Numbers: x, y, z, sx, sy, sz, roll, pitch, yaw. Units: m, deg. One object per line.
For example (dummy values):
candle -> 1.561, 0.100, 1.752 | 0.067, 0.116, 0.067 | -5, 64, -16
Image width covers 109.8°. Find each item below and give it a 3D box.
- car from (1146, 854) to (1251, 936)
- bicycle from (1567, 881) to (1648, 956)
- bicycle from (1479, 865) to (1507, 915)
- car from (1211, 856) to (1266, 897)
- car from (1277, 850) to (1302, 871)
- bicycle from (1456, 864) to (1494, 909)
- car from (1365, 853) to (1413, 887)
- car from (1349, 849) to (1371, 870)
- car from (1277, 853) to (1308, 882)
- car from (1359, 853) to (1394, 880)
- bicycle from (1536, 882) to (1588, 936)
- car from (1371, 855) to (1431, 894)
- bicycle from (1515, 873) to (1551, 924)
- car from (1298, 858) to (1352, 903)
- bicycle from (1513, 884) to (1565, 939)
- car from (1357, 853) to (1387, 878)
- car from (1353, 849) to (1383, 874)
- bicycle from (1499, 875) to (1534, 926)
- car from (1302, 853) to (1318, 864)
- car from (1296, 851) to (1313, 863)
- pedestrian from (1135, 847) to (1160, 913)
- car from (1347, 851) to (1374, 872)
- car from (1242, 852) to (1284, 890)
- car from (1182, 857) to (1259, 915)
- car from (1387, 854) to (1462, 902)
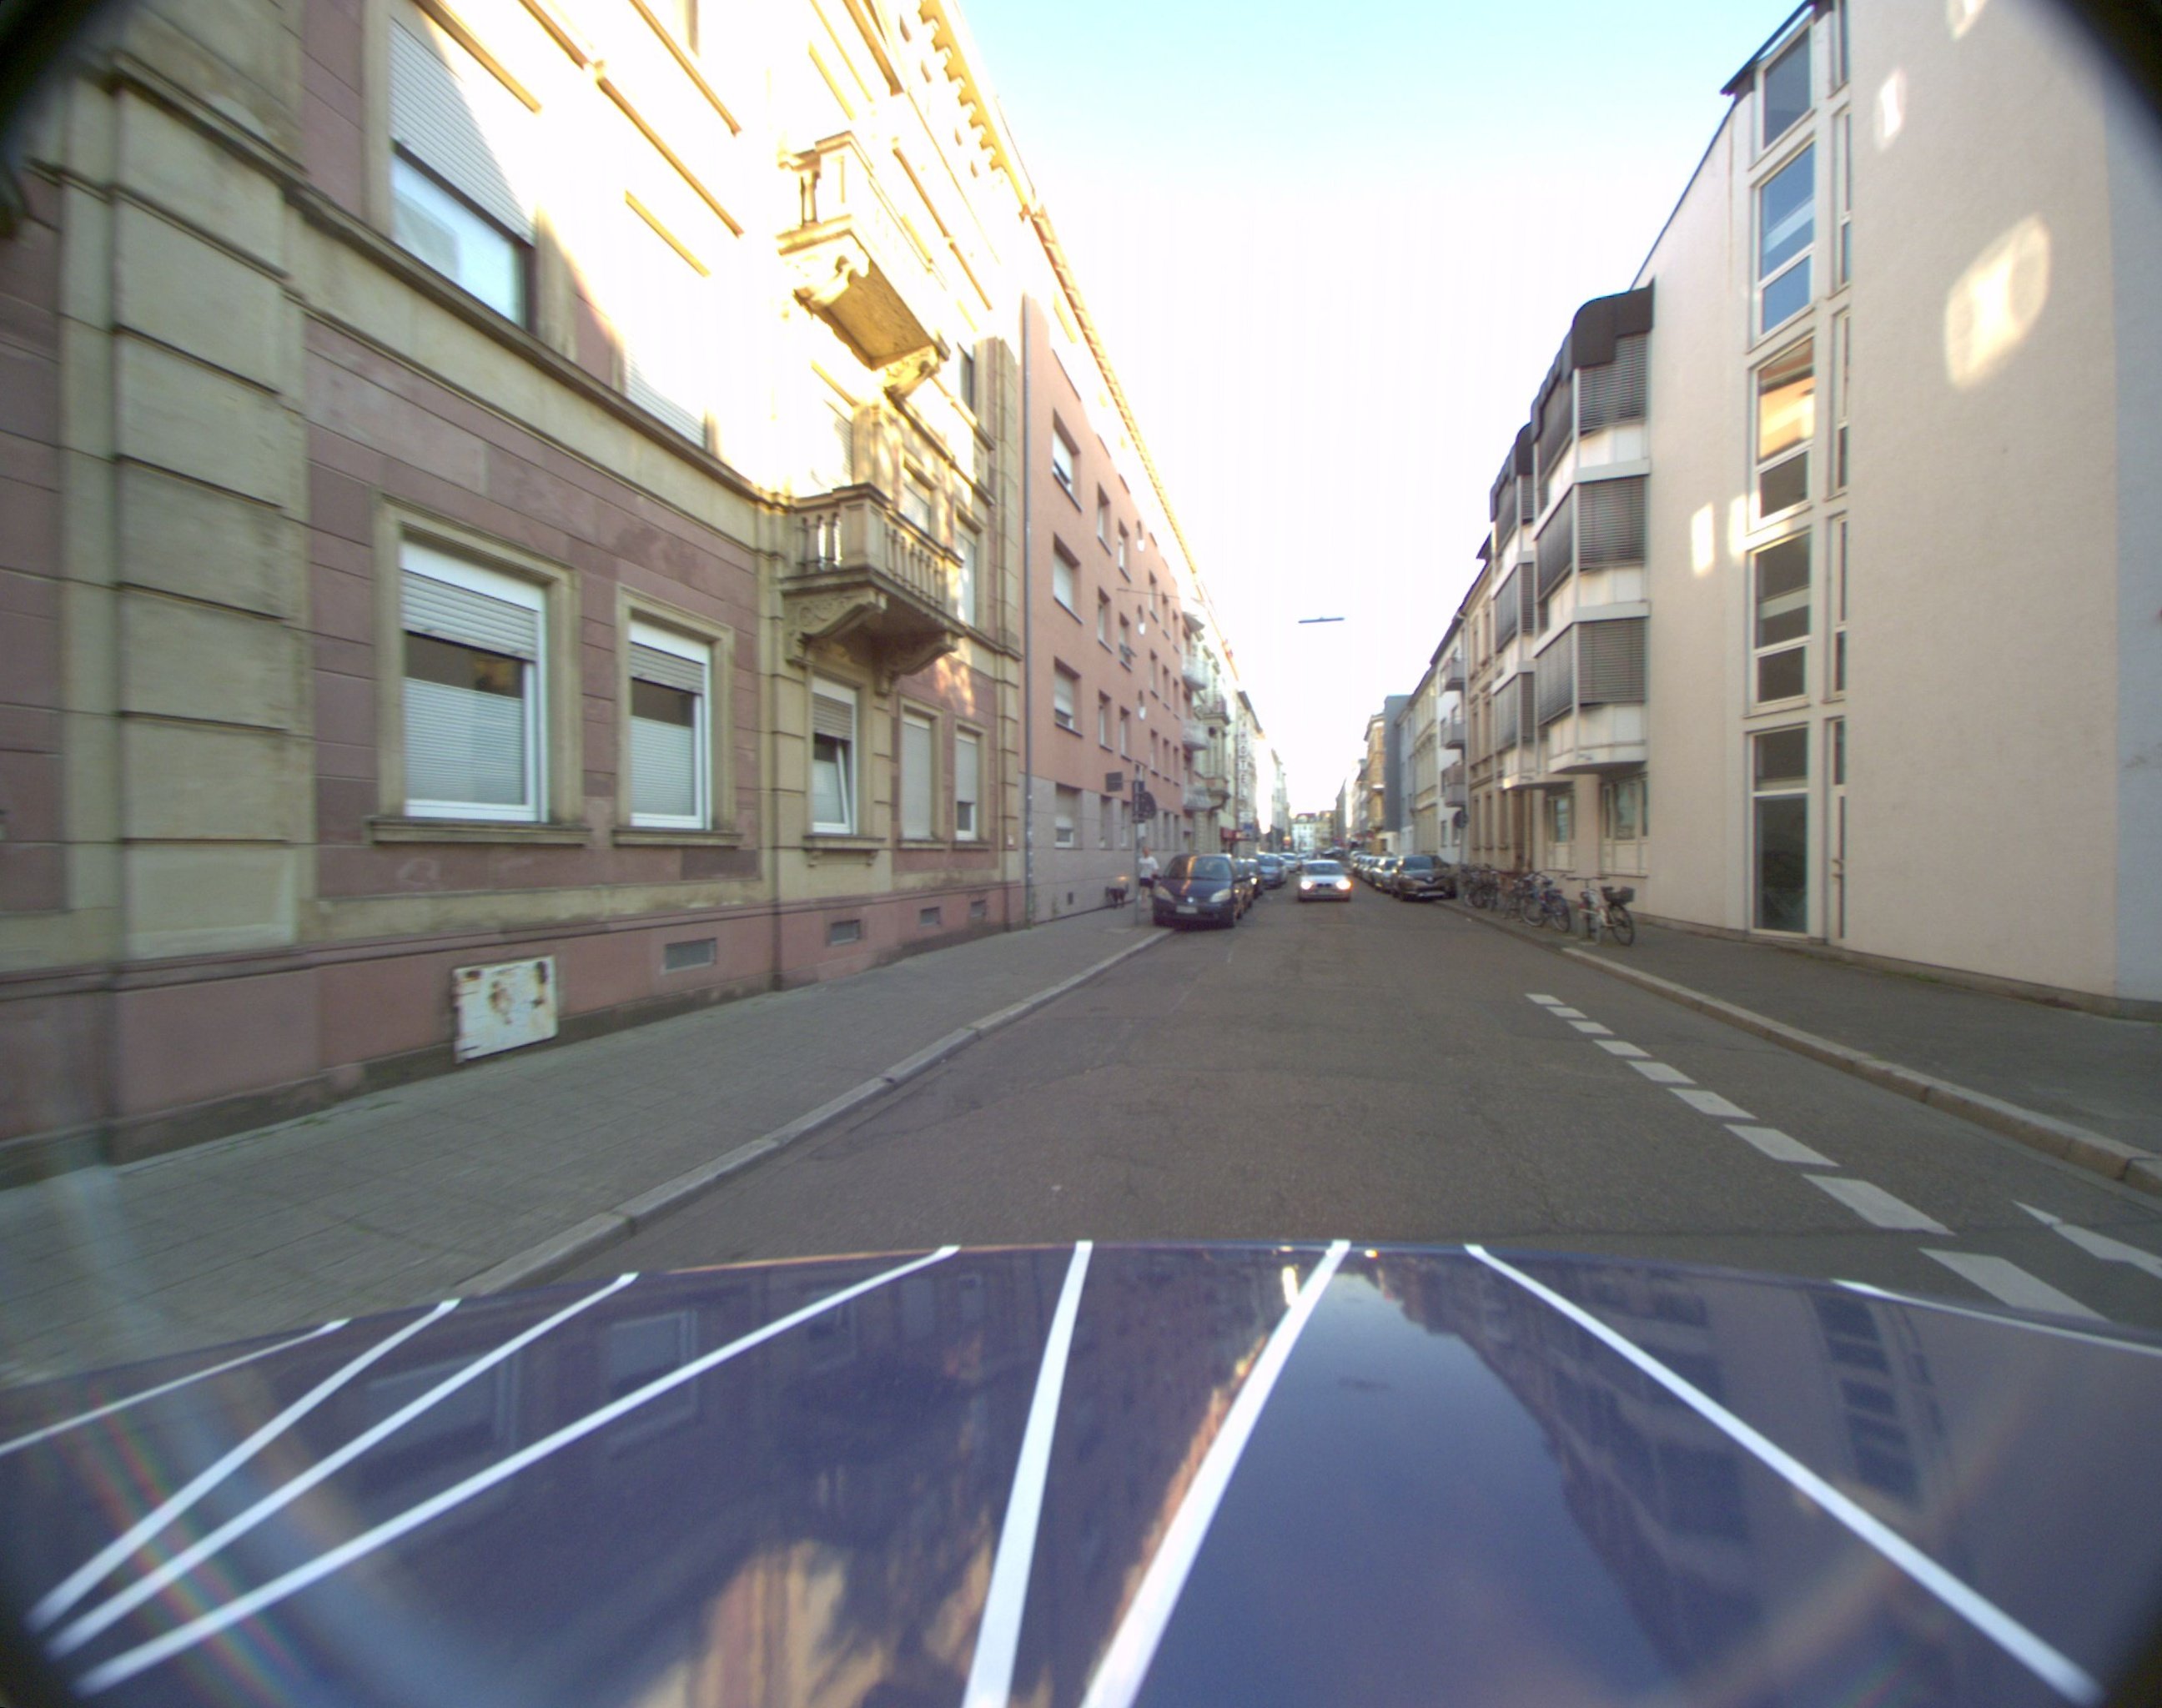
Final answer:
car -> 2.789, 0.838, 17.336 | 1.691, 1.615, 4.060 | -1, 0, 18
bicycle -> 8.712, 1.030, 12.637 | 0.401, 1.096, 1.815 | -1, 0, 11
bicycle -> 10.680, 0.912, 19.735 | 0.307, 1.215, 1.815 | -1, 0, 18
car -> 6.206, 0.822, 29.677 | 1.691, 1.449, 4.137 | -1, 0, 17
car -> 18.569, 0.546, 67.468 | 1.839, 1.685, 4.364 | 4, 2, 18
bicycle -> 11.278, 0.896, 21.819 | 0.596, 1.180, 2.268 | -1, 0, 18
car -> 15.166, 0.759, 37.628 | 1.793, 1.530, 4.500 | -1, 0, 17
car -> 24.445, 0.433, 66.620 | 1.640, 1.786, 3.788 | -1, 0, 17
car -> 12.114, 0.725, 43.456 | 1.572, 1.569, 3.594 | -1, 0, 17
car -> 17.159, 0.695, 44.268 | 1.640, 1.480, 3.793 | -1, 0, 17
bicycle -> 9.349, 1.049, 14.817 | 0.307, 0.926, 1.815 | -1, 0, 14
car -> 13.572, 0.829, 32.437 | 1.793, 1.530, 4.439 | -1, 0, 15
bicycle -> 10.135, 0.966, 17.069 | 0.307, 1.036, 1.815 | -1, 0, 18
car -> 8.735, 0.890, 27.282 | 1.679, 1.395, 4.477 | -2, 0, 17
bicycle -> 8.989, 1.104, 14.960 | 0.307, 0.926, 1.815 | -1, 0, 13
car -> 18.796, 0.727, 49.213 | 1.640, 1.480, 3.959 | -1, 0, 19
car -> 20.586, 0.521, 54.684 | 1.640, 1.701, 3.787 | -1, 0, 15
bicycle -> 9.826, 1.030, 17.183 | 0.307, 1.036, 1.815 | -1, 0, 18
car -> 29.103, 0.540, 96.521 | 1.727, 1.390, 3.897 | -1, 0, 18
car -> 26.088, 0.308, 88.506 | 1.727, 1.390, 3.897 | -1, 0, 18
pedestrian -> 1.768, 0.674, 20.223 | 0.550, 1.733, 0.569 | 0, 0, 16
car -> 22.194, 0.600, 60.486 | 1.640, 1.571, 3.787 | -1, 0, 15
car -> 8.848, 0.764, 36.770 | 1.691, 1.731, 4.114 | -1, 0, 17
car -> 4.195, 0.854, 22.362 | 1.691, 1.505, 4.288 | -1, 0, 17
car -> 12.002, 0.794, 26.772 | 1.793, 1.567, 4.075 | -1, 0, 15
